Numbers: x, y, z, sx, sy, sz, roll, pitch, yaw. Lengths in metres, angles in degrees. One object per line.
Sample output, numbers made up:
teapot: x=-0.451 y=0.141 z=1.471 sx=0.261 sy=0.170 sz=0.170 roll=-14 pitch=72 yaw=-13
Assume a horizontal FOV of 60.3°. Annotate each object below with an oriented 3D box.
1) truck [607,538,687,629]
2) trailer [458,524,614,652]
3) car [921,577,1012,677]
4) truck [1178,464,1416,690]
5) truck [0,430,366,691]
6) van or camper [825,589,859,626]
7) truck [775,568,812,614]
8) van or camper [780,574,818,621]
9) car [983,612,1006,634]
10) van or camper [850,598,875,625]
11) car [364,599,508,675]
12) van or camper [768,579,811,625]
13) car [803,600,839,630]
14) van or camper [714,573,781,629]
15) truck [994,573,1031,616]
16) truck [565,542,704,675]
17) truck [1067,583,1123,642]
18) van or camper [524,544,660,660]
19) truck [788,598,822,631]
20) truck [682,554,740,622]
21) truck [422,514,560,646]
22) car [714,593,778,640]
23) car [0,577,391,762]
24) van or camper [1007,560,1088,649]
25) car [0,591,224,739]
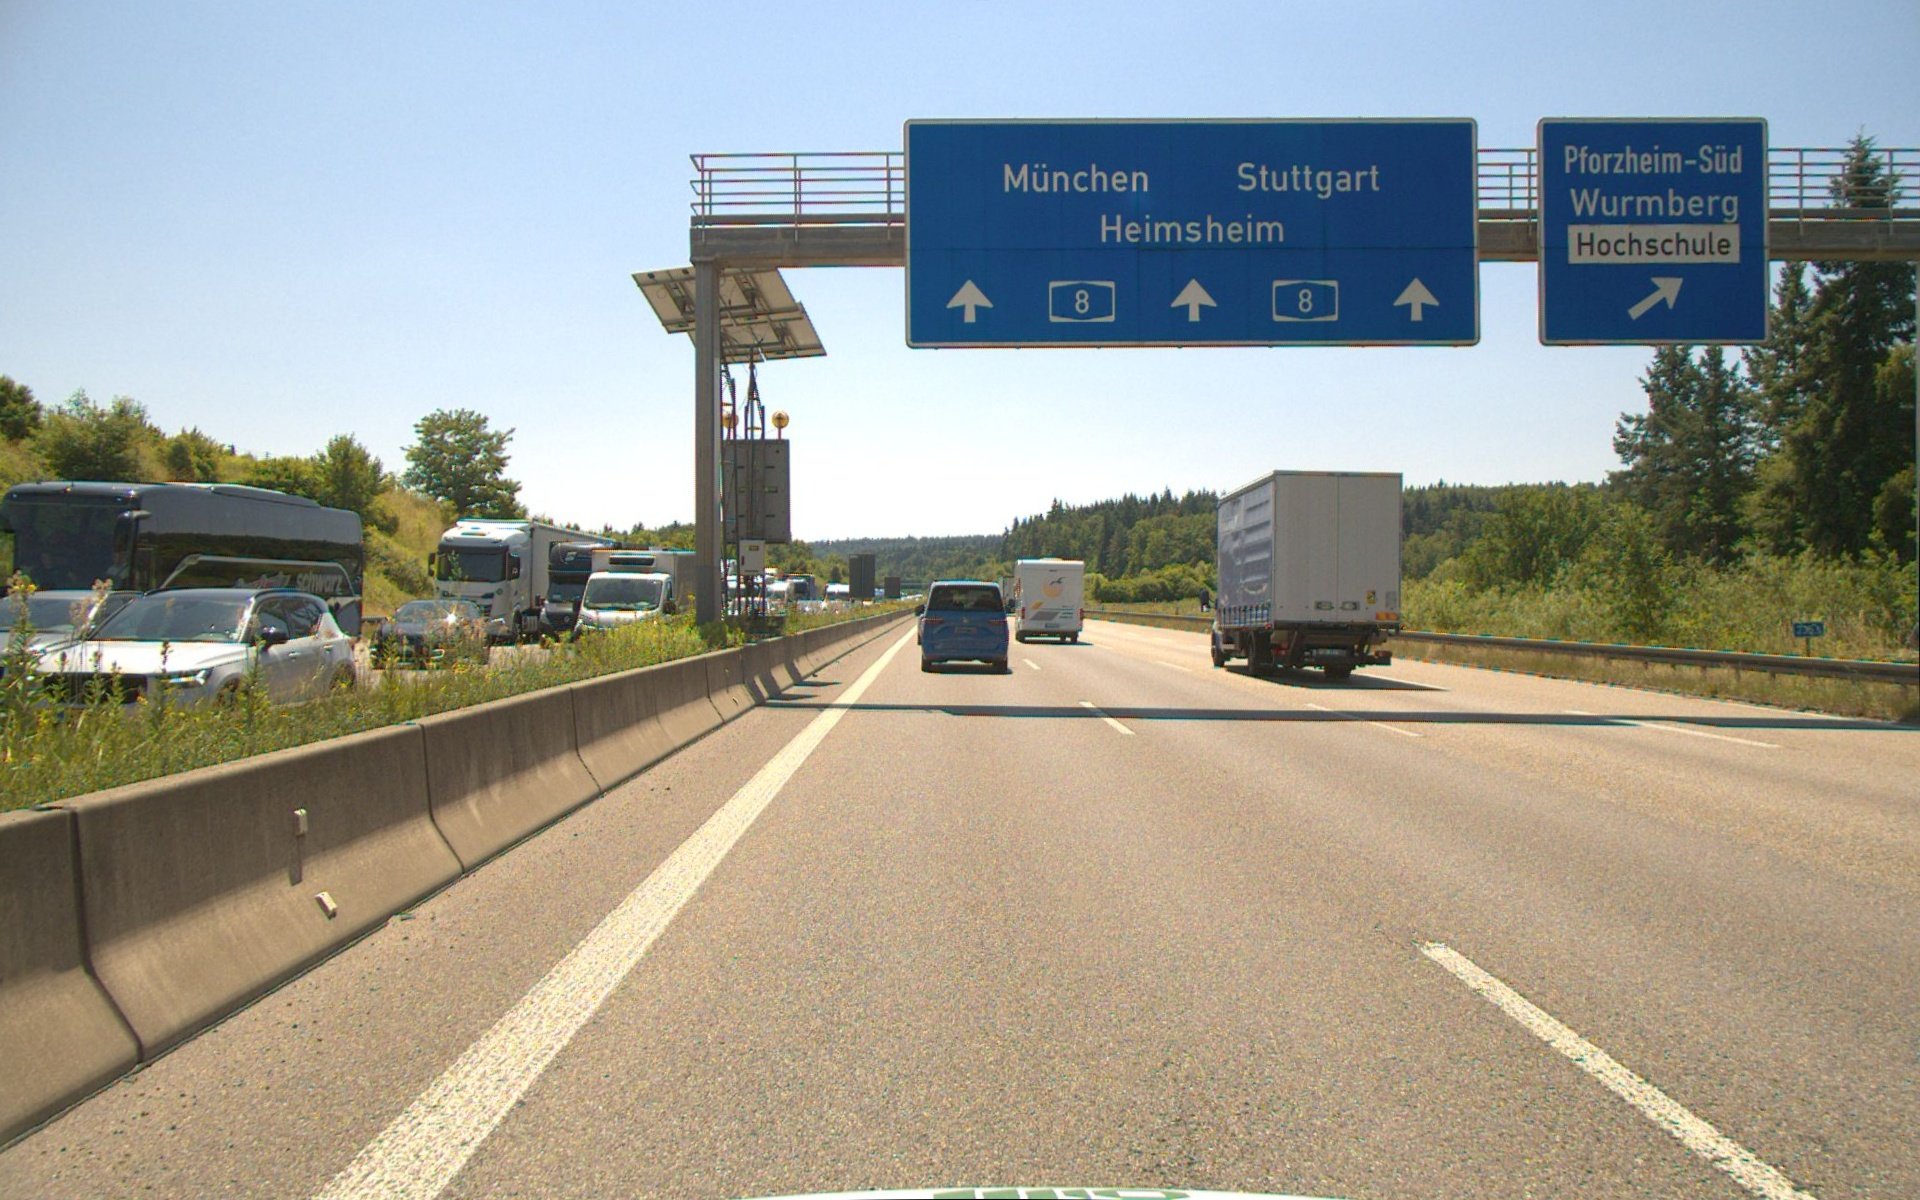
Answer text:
truck: x=-15.685 y=-0.740 z=83.377 sx=2.725 sy=4.381 sz=7.028 roll=0 pitch=-1 yaw=-1
trailer: x=-15.784 y=-0.322 z=62.672 sx=2.724 sy=4.381 sz=11.710 roll=0 pitch=-1 yaw=1
car: x=0.098 y=0.560 z=36.192 sx=1.870 sy=2.049 sz=3.999 roll=1 pitch=0 yaw=-1
truck: x=7.024 y=-0.369 z=36.146 sx=2.727 sy=4.201 sz=9.734 roll=2 pitch=-1 yaw=-3
truck: x=-15.515 y=-0.591 z=33.263 sx=2.994 sy=4.296 sz=11.484 roll=1 pitch=-1 yaw=-1
van or camper: x=-8.606 y=0.593 z=121.356 sx=2.148 sy=2.585 sz=6.414 roll=0 pitch=-1 yaw=-1
truck: x=-15.865 y=-0.766 z=157.798 sx=2.521 sy=4.149 sz=9.692 roll=1 pitch=-1 yaw=-1
van or camper: x=-12.339 y=-0.128 z=127.396 sx=2.266 sy=3.450 sz=7.677 roll=0 pitch=-1 yaw=-1
car: x=2.964 y=1.980 z=143.376 sx=1.781 sy=1.825 sz=3.893 roll=1 pitch=-1 yaw=-1
van or camper: x=-9.350 y=1.160 z=159.275 sx=2.148 sy=2.550 sz=6.056 roll=0 pitch=-1 yaw=-1
car: x=-11.781 y=0.821 z=37.518 sx=1.739 sy=1.576 sz=4.759 roll=1 pitch=-1 yaw=-1
van or camper: x=-11.525 y=0.158 z=112.313 sx=2.107 sy=2.974 sz=7.223 roll=1 pitch=-1 yaw=-1
car: x=-8.437 y=0.924 z=100.944 sx=1.775 sy=1.760 sz=4.972 roll=1 pitch=-1 yaw=-1
van or camper: x=-12.202 y=0.119 z=95.660 sx=2.783 sy=3.000 sz=8.111 roll=1 pitch=-1 yaw=-1
truck: x=5.407 y=-0.498 z=173.107 sx=3.416 sy=4.243 sz=8.640 roll=1 pitch=-1 yaw=-1
truck: x=-7.677 y=0.223 z=39.729 sx=2.077 sy=2.891 sz=6.211 roll=1 pitch=-1 yaw=-1
truck: x=8.578 y=0.750 z=106.336 sx=2.868 sy=3.637 sz=8.525 roll=0 pitch=0 yaw=0
van or camper: x=-11.833 y=0.115 z=53.920 sx=2.477 sy=3.419 sz=7.943 roll=1 pitch=-1 yaw=1
truck: x=-12.462 y=1.194 z=133.050 sx=2.189 sy=2.550 sz=6.860 roll=0 pitch=-1 yaw=-1
truck: x=-16.081 y=-0.711 z=107.230 sx=2.744 sy=4.200 sz=6.140 roll=1 pitch=-1 yaw=-1
truck: x=-15.850 y=-0.589 z=56.398 sx=2.725 sy=4.186 sz=7.028 roll=0 pitch=-1 yaw=-1
car: x=-8.011 y=0.624 z=62.290 sx=1.775 sy=1.662 sz=5.029 roll=1 pitch=-1 yaw=-1
car: x=-7.485 y=0.629 z=16.637 sx=1.775 sy=1.539 sz=5.029 roll=1 pitch=-1 yaw=-1
van or camper: x=3.251 y=0.065 z=63.071 sx=2.550 sy=3.132 sz=7.182 roll=1 pitch=1 yaw=-1
car: x=-11.112 y=0.739 z=20.709 sx=1.739 sy=1.641 sz=4.557 roll=1 pitch=-1 yaw=-1
